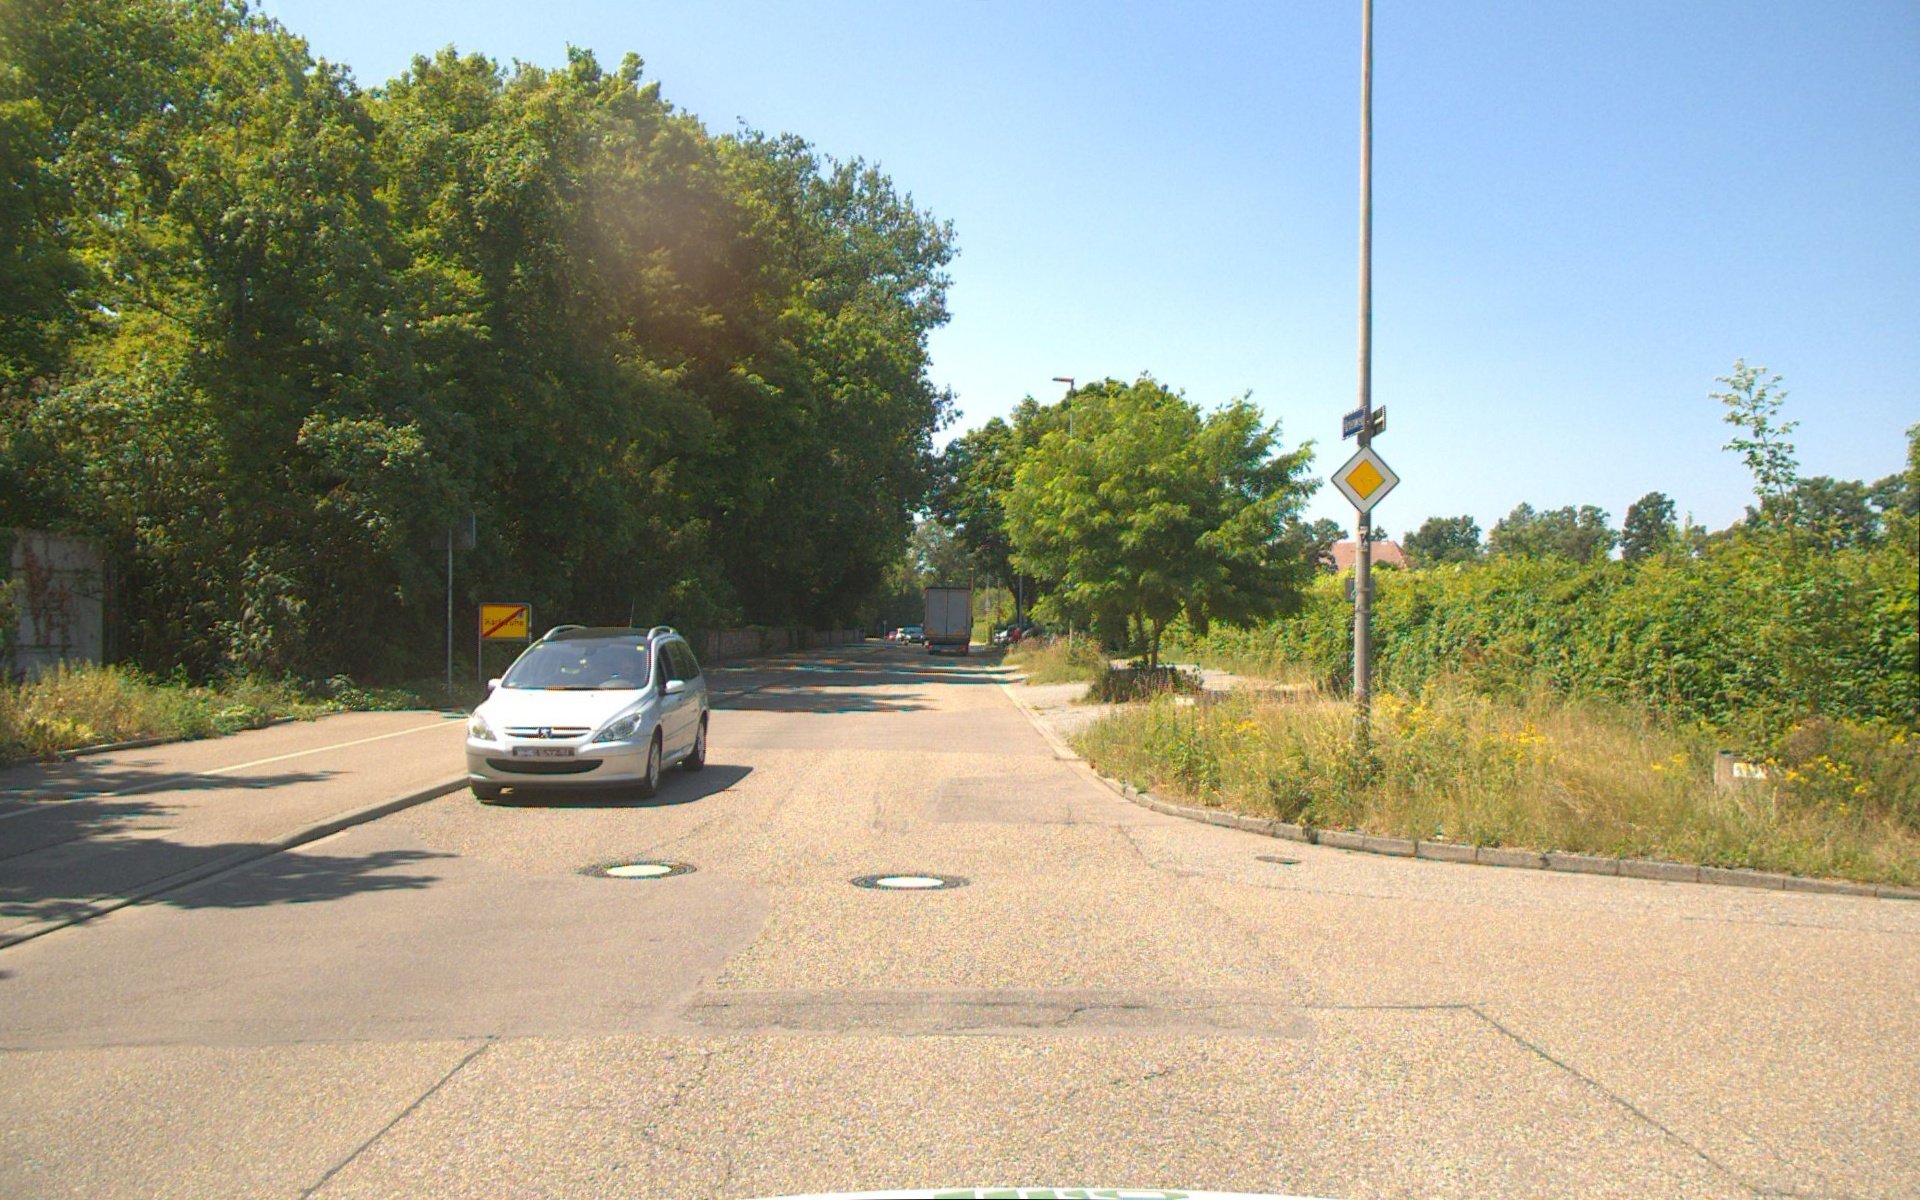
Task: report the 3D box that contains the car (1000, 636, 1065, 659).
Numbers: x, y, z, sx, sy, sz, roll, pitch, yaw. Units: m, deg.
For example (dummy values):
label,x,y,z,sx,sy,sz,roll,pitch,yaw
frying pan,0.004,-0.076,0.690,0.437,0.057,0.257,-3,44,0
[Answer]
label,x,y,z,sx,sy,sz,roll,pitch,yaw
car,4.713,3.105,107.655,4.110,1.471,1.738,1,-2,0

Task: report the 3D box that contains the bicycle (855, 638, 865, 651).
label,x,y,z,sx,sy,sz,roll,pitch,yaw
bicycle,-9.048,4.004,149.676,0.703,1.180,2.230,1,-2,0

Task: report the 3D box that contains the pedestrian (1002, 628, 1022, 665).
label,x,y,z,sx,sy,sz,roll,pitch,yaw
pedestrian,2.445,2.164,77.408,0.846,1.707,0.885,1,-2,-2

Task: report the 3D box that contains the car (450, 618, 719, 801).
label,x,y,z,sx,sy,sz,roll,pitch,yaw
car,-3.637,1.027,16.801,1.755,1.600,4.271,0,-2,0

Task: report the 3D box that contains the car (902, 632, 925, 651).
label,x,y,z,sx,sy,sz,roll,pitch,yaw
car,-4.153,3.744,148.906,1.953,1.713,4.261,1,-2,0

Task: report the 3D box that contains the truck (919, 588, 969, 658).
label,x,y,z,sx,sy,sz,roll,pitch,yaw
truck,-0.924,1.508,98.974,2.678,3.812,13.242,2,-2,0

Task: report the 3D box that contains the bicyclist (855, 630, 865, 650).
label,x,y,z,sx,sy,sz,roll,pitch,yaw
bicyclist,-9.051,3.606,149.714,0.815,1.746,0.957,1,-2,0

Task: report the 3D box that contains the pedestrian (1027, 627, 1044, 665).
label,x,y,z,sx,sy,sz,roll,pitch,yaw
pedestrian,3.584,2.175,78.233,0.724,1.769,0.885,1,-2,-2
